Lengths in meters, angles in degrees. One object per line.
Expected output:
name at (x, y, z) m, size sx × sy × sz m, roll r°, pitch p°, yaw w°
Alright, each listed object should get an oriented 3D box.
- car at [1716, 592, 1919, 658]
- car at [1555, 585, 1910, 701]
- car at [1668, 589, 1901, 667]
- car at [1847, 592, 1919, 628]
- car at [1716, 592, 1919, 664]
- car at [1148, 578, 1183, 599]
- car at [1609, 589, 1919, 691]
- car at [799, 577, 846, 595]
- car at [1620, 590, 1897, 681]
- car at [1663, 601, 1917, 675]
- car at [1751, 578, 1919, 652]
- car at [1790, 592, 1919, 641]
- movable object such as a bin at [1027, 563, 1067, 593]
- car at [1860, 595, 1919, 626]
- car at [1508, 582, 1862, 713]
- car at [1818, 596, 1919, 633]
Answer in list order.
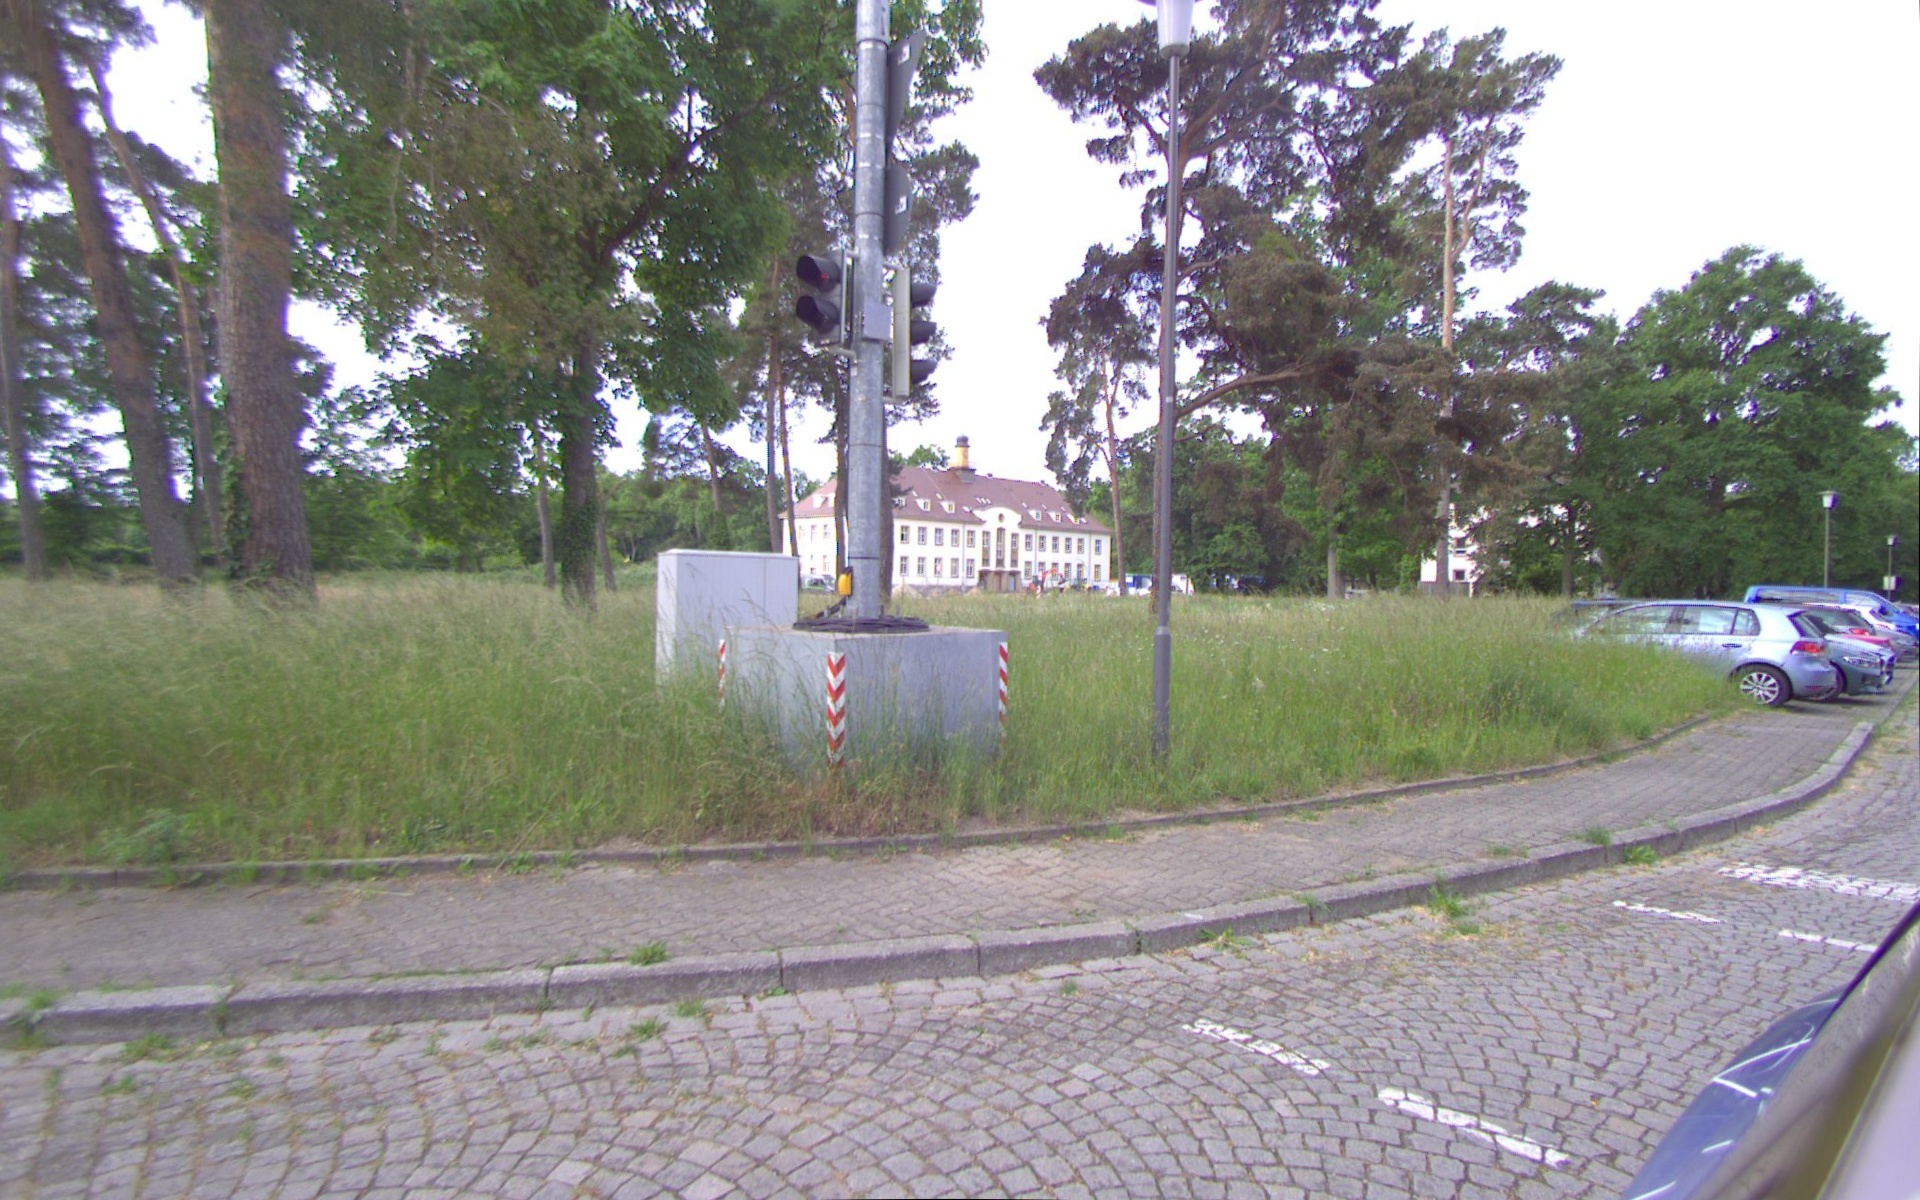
car at (23.510, 0.631, 27.844) m, size 1.572 × 1.535 × 4.049 m, roll 1°, pitch 2°, yaw -41°
car at (12.598, 0.603, 16.732) m, size 1.637 × 1.400 × 4.433 m, roll 0°, pitch 4°, yaw -45°
car at (19.402, 0.589, 23.963) m, size 1.572 × 1.535 × 4.049 m, roll 1°, pitch 2°, yaw -41°
car at (48.263, 0.529, 51.734) m, size 1.694 × 1.716 × 4.087 m, roll 1°, pitch 2°, yaw -36°
car at (21.781, 0.643, 25.485) m, size 1.670 × 1.535 × 4.096 m, roll 1°, pitch 2°, yaw -41°
car at (23.682, -1.315, 116.667) m, size 4.374 × 2.394 × 1.859 m, roll -1°, pitch 1°, yaw -44°
car at (14.602, 0.633, 18.540) m, size 1.687 × 1.492 × 4.245 m, roll 1°, pitch 2°, yaw -41°
car at (-15.721, -1.633, 115.552) m, size 5.774 × 1.985 × 2.162 m, roll 1°, pitch 1°, yaw 43°
car at (16.071, 0.637, 20.536) m, size 1.688 × 1.500 × 4.179 m, roll 1°, pitch 2°, yaw -43°
car at (17.788, 0.743, 21.846) m, size 1.523 × 1.255 × 4.046 m, roll 1°, pitch 2°, yaw -43°
car at (27.574, 0.417, 31.297) m, size 1.879 × 2.030 × 4.599 m, roll 0°, pitch 3°, yaw -41°
car at (33.658, 0.584, 37.602) m, size 1.625 × 1.612 × 4.082 m, roll 1°, pitch 2°, yaw -41°
movable object such as a bin at (11.424, -2.884, 132.975) m, size 2.016 × 3.817 × 5.457 m, roll 0°, pitch 1°, yaw -40°
car at (51.701, 0.592, 54.808) m, size 1.694 × 1.552 × 4.097 m, roll 1°, pitch 2°, yaw -36°
car at (10.632, 0.587, 15.052) m, size 1.670 × 1.446 × 4.005 m, roll 0°, pitch 4°, yaw -45°
car at (40.803, 0.632, 44.812) m, size 1.696 × 1.462 × 4.081 m, roll 1°, pitch 2°, yaw -41°
